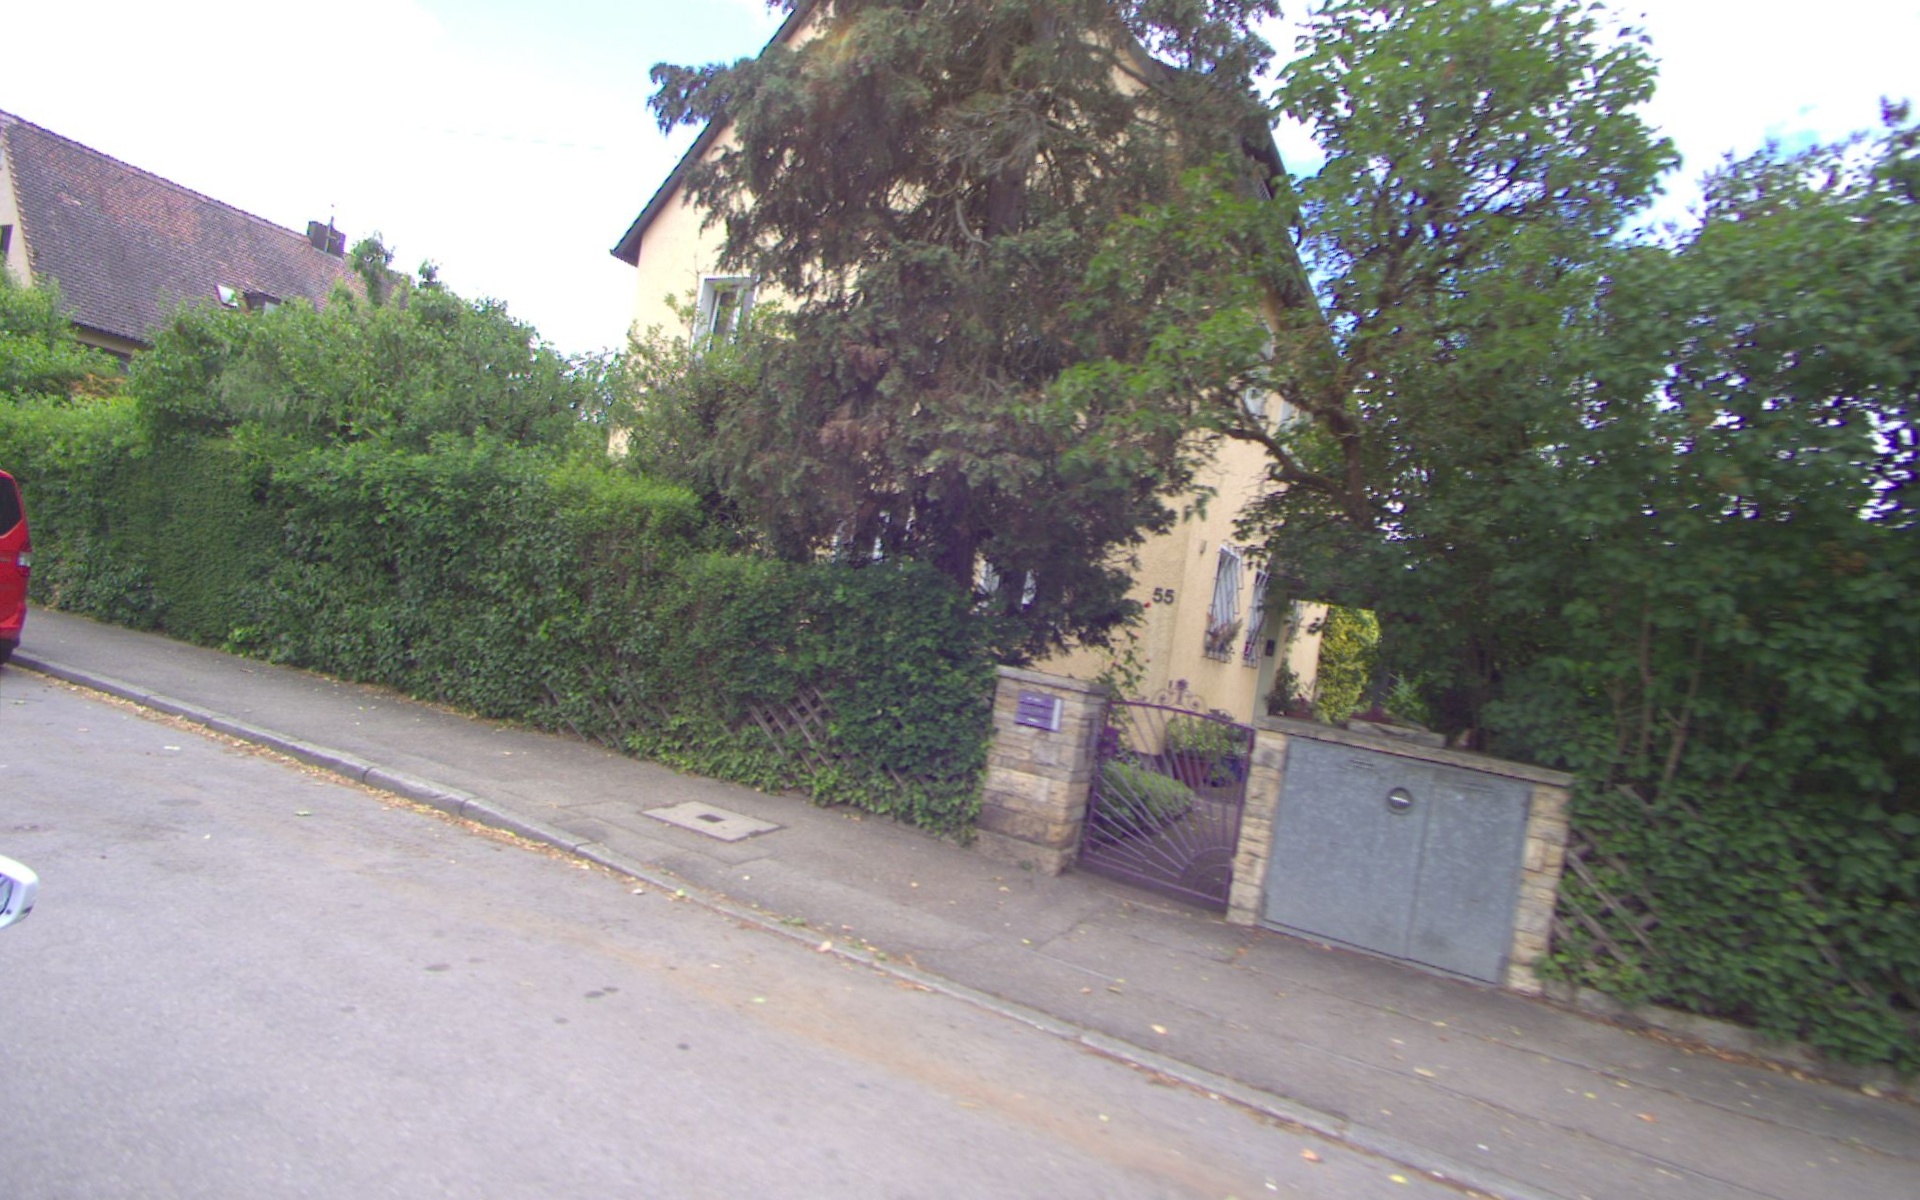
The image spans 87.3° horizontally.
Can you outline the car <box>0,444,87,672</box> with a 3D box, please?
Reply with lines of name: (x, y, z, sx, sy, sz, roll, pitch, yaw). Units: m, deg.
car: (-10.083, -0.666, 8.860, 4.861, 1.818, 1.766, 8, -1, 27)
